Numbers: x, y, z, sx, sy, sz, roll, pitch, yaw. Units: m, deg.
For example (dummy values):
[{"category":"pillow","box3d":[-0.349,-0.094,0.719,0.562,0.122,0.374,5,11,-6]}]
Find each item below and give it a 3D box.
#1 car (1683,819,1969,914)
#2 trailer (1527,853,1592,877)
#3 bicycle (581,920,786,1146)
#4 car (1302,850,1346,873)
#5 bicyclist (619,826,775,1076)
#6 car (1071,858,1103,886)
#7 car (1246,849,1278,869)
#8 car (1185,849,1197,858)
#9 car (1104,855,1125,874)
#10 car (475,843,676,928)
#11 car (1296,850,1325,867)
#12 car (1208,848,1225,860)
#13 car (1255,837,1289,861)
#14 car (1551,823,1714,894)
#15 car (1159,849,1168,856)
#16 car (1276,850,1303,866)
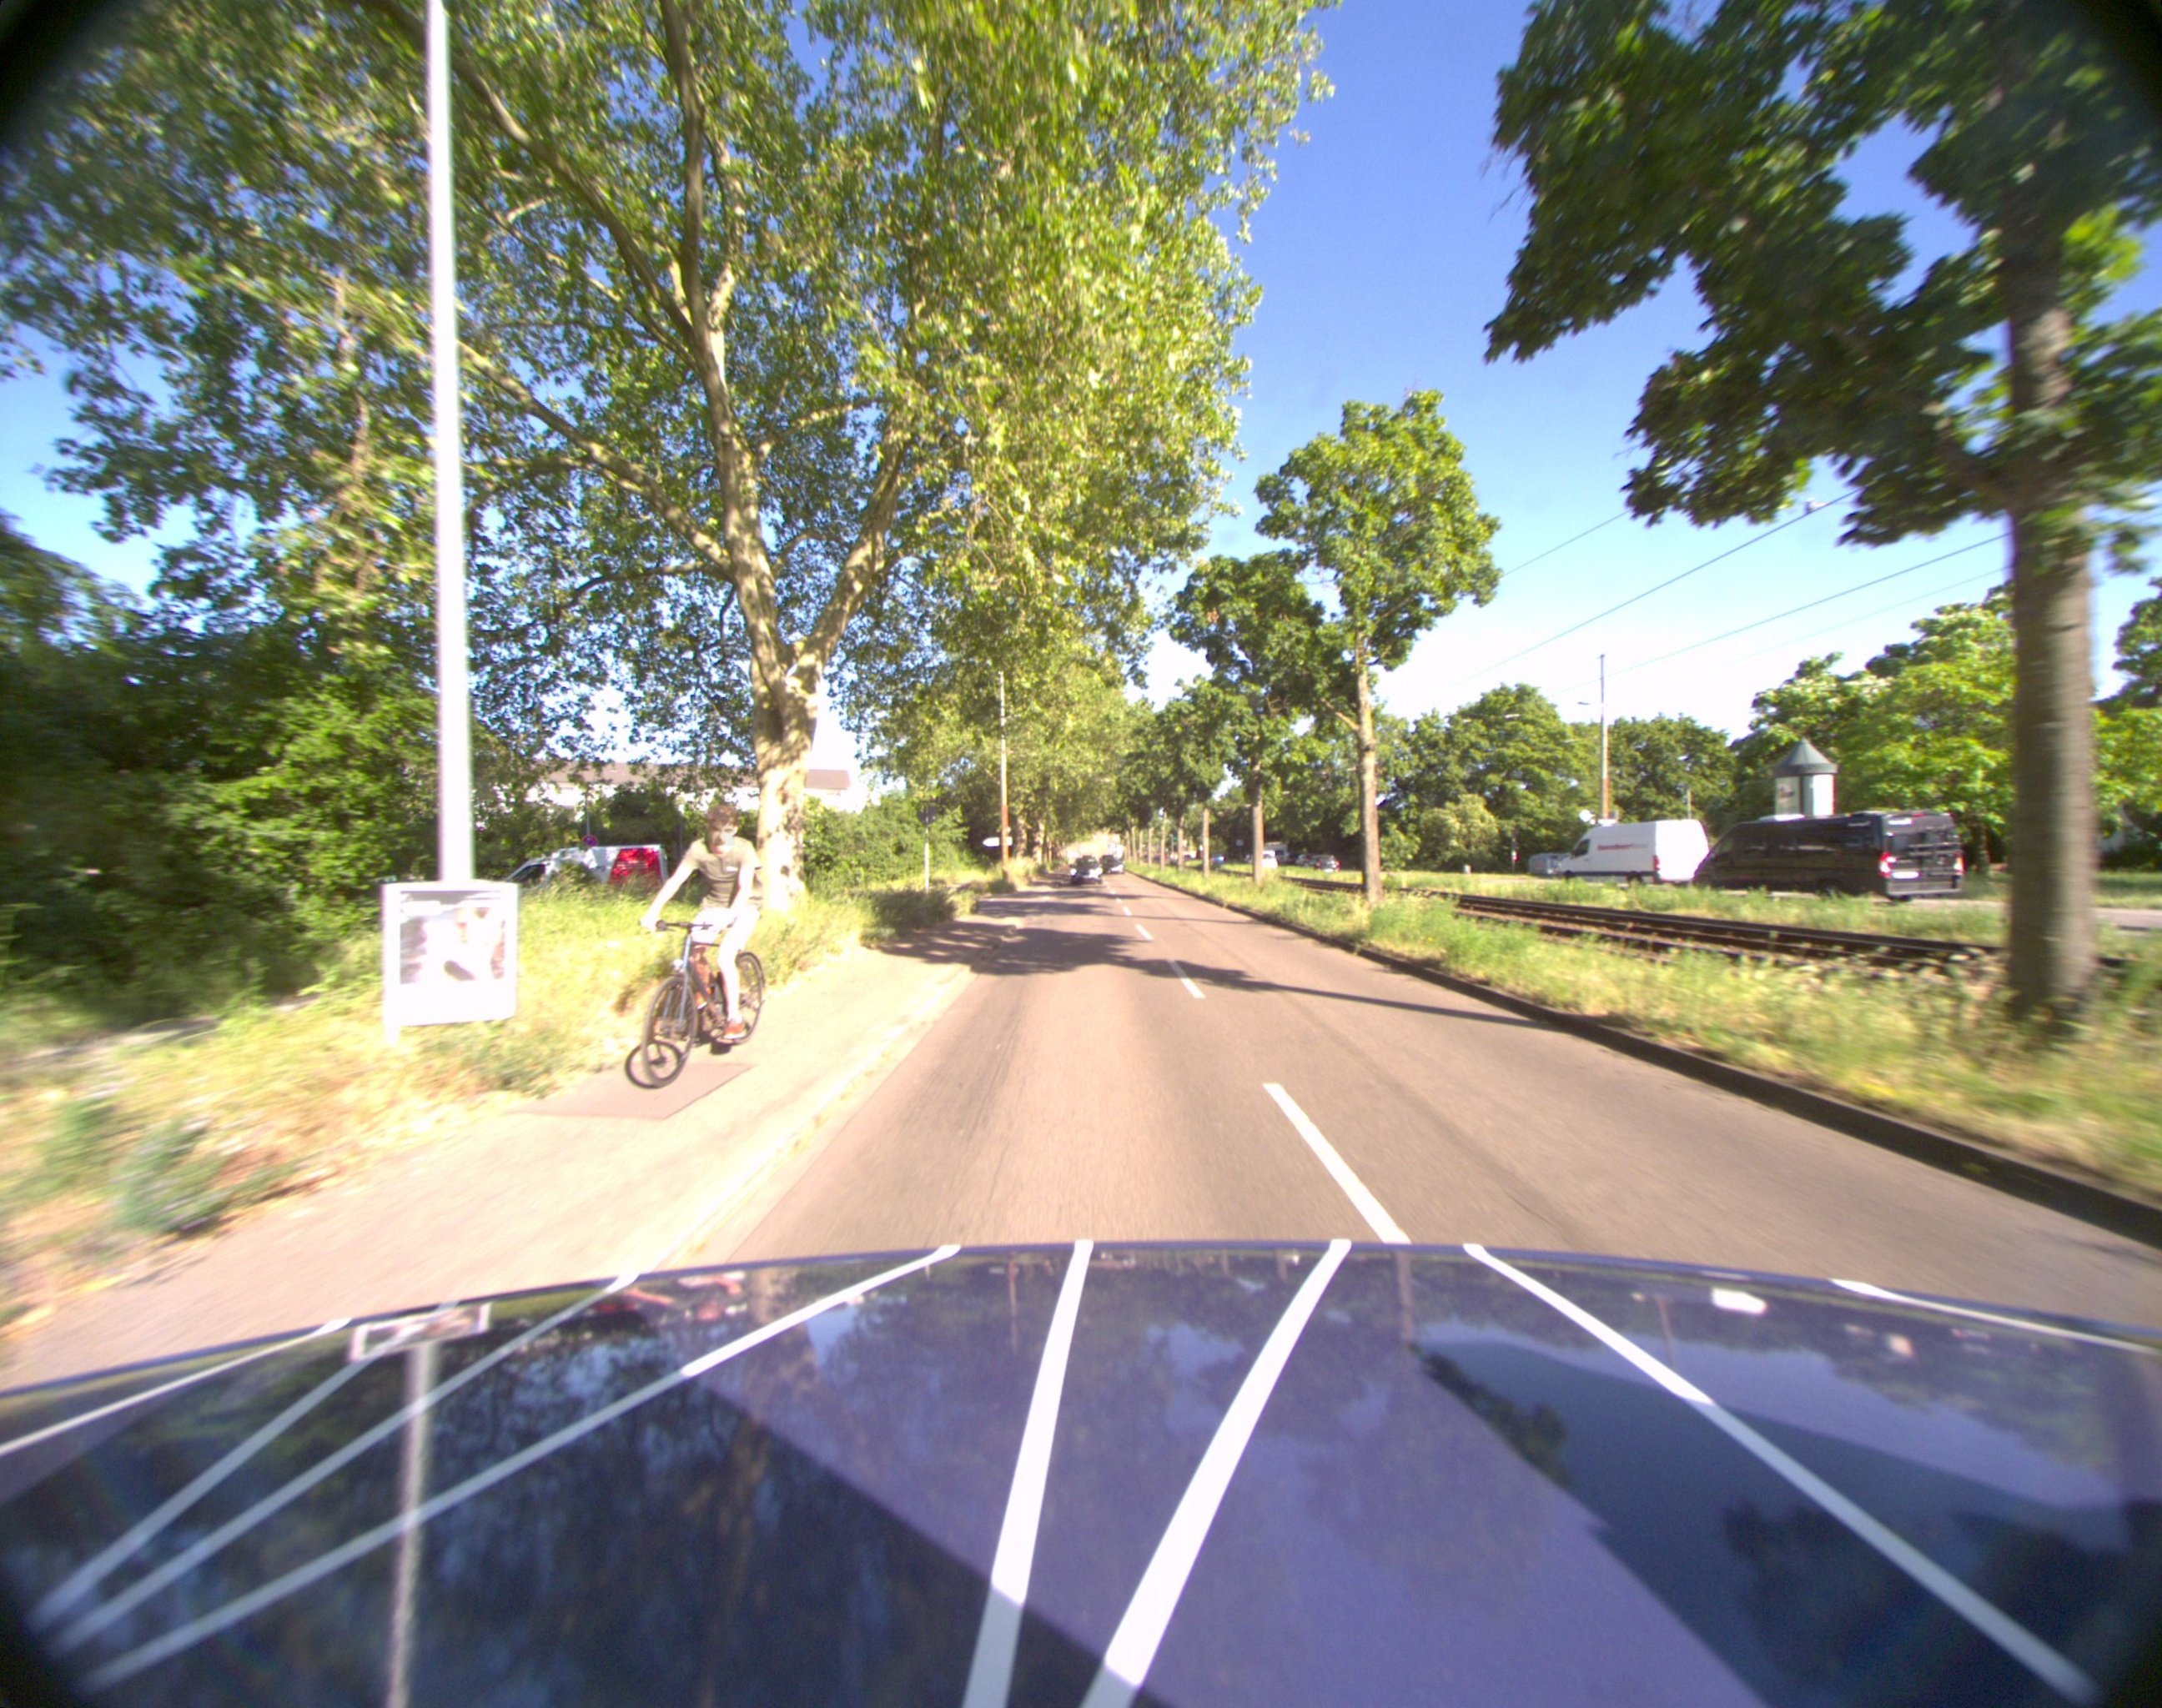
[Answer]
[{"category":"car","box3d":[21.448,0.287,22.503,2.188,2.362,6.464,-1,1,1]},{"category":"trailer","box3d":[32.695,0.747,51.944,3.762,1.495,1.751,-2,1,-19]},{"category":"bicycle","box3d":[-2.684,1.131,5.371,0.441,1.146,1.823,-1,1,0]},{"category":"car","box3d":[17.083,0.494,53.648,1.998,1.522,3.751,-1,0,2]},{"category":"bicyclist","box3d":[-2.678,0.634,5.392,0.615,1.619,0.909,-1,1,0]},{"category":"car","box3d":[0.336,0.999,44.549,1.808,1.478,3.546,-1,1,0]},{"category":"car","box3d":[16.921,0.475,71.311,1.815,1.734,4.981,-1,1,1]},{"category":"car","box3d":[21.496,-0.120,148.988,1.731,1.519,4.442,-1,1,1]},{"category":"car","box3d":[2.801,0.869,64.498,1.714,1.478,3.547,-1,1,2]},{"category":"car","box3d":[-16.112,0.922,24.619,5.005,2.424,2.325,-2,0,-23]},{"category":"car","box3d":[22.080,0.429,73.286,1.678,1.575,4.248,-1,1,2]},{"category":"car","box3d":[17.664,-0.003,98.956,1.561,1.387,3.820,-1,1,0]},{"category":"car","box3d":[22.006,-0.516,87.973,2.231,2.565,6.799,-1,0,1]},{"category":"car","box3d":[21.684,0.135,30.326,2.007,2.482,6.136,-1,1,0]},{"category":"car","box3d":[19.155,-0.306,176.518,1.731,1.519,4.442,-1,1,1]},{"category":"car","box3d":[22.019,0.408,80.348,1.626,1.613,4.532,-1,1,0]}]
